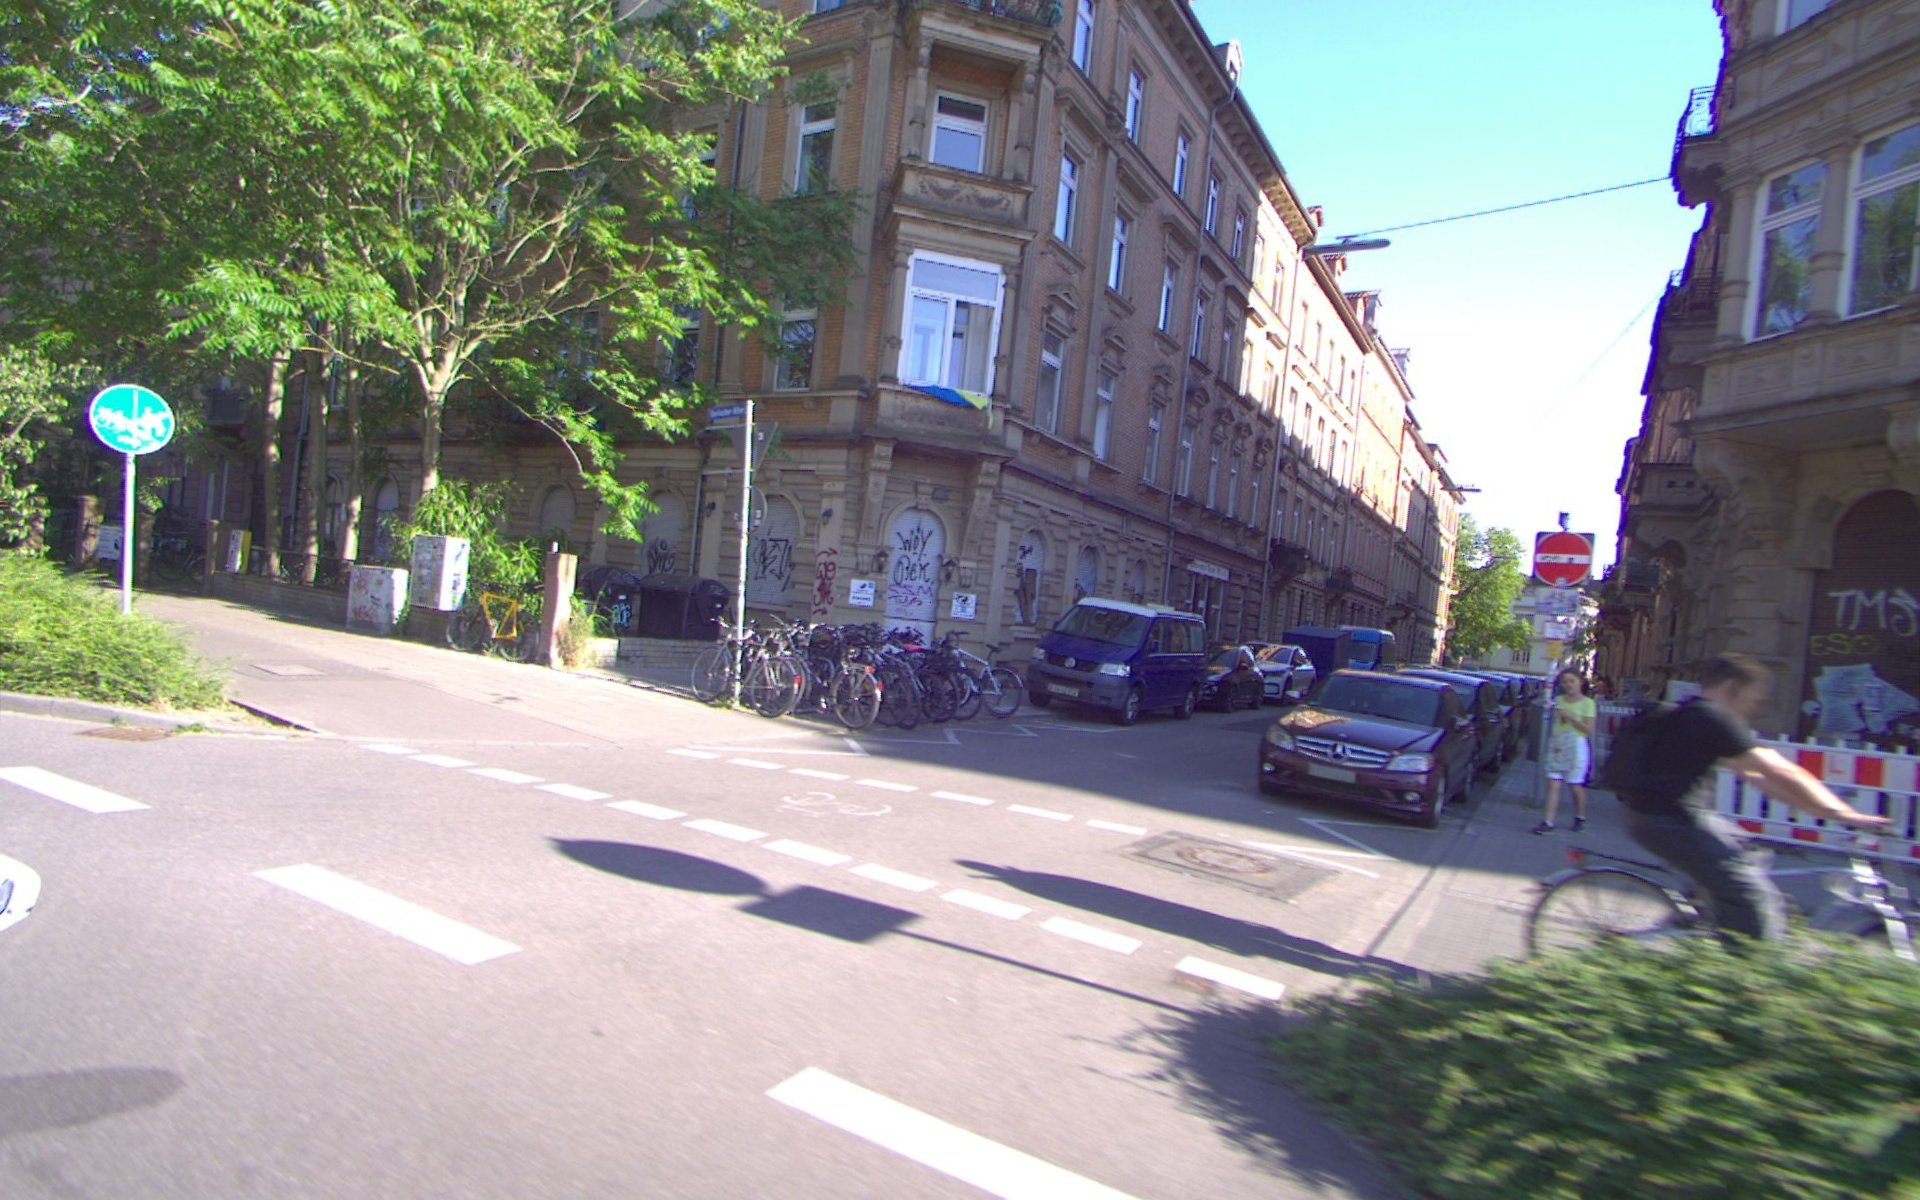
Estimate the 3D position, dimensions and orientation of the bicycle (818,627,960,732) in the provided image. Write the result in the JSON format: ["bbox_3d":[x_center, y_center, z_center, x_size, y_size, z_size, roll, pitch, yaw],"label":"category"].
[{"bbox_3d":[-0.955,1.020,13.263,1.790,1.062,0.518,9,3,32],"label":"bicycle"}]

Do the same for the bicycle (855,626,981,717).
[{"bbox_3d":[-0.647,1.047,15.102,1.790,1.062,0.518,9,3,32],"label":"bicycle"}]

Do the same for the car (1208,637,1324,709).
[{"bbox_3d":[8.265,1.909,26.945,1.763,1.528,4.162,9,2,32],"label":"car"}]

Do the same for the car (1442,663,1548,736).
[{"bbox_3d":[13.745,2.478,25.731,1.783,1.433,4.252,9,2,34],"label":"car"}]

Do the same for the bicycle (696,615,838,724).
[{"bbox_3d":[-2.470,0.854,12.755,1.790,1.062,0.518,9,3,32],"label":"bicycle"}]

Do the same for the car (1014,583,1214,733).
[{"bbox_3d":[2.930,1.056,18.123,1.745,2.151,4.583,9,1,30],"label":"car"}]

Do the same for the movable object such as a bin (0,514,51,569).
[{"bbox_3d":[-26.152,-1.628,27.762,1.236,1.400,1.232,6,1,31],"label":"movable object such as a bin"}]

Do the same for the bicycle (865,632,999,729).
[{"bbox_3d":[-0.414,1.108,14.200,1.790,1.062,0.518,9,3,32],"label":"bicycle"}]

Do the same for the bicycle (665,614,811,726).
[{"bbox_3d":[-2.739,0.831,12.319,1.790,1.062,0.518,9,3,32],"label":"bicycle"}]

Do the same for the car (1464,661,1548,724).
[{"bbox_3d":[17.518,2.907,32.185,1.783,1.609,4.252,9,2,34],"label":"car"}]

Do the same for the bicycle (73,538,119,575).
[{"bbox_3d":[-22.294,-1.128,25.957,0.369,0.865,0.769,9,3,29],"label":"bicycle"}]

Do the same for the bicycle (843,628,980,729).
[{"bbox_3d":[-0.683,1.042,13.743,1.790,1.062,0.518,9,3,32],"label":"bicycle"}]

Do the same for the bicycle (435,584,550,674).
[{"bbox_3d":[-6.538,0.391,14.049,1.693,1.001,0.525,9,3,31],"label":"bicycle"}]

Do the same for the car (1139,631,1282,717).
[{"bbox_3d":[5.799,1.640,22.910,1.763,1.528,4.162,9,2,32],"label":"car"}]

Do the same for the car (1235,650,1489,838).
[{"bbox_3d":[4.684,1.426,11.301,1.782,1.434,4.254,9,2,32],"label":"car"}]

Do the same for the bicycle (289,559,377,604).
[{"bbox_3d":[-15.411,-0.447,24.763,0.435,0.937,1.729,9,3,35],"label":"bicycle"}]

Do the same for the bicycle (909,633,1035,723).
[{"bbox_3d":[0.165,1.153,15.227,1.790,1.062,0.518,9,3,32],"label":"bicycle"}]

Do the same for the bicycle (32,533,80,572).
[{"bbox_3d":[-22.703,-1.190,25.266,0.369,0.865,0.769,9,3,29],"label":"bicycle"}]

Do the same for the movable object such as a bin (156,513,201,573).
[{"bbox_3d":[-24.103,-1.747,31.029,0.730,1.715,0.755,9,3,30],"label":"movable object such as a bin"}]

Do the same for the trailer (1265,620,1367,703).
[{"bbox_3d":[11.502,1.948,32.372,1.967,2.218,3.987,9,3,33],"label":"trailer"}]

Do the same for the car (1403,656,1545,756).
[{"bbox_3d":[10.018,1.965,19.448,1.783,1.433,4.252,9,2,34],"label":"car"}]

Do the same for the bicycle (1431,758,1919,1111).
[{"bbox_3d":[3.439,1.427,4.464,2.321,1.061,0.641,4,1,32],"label":"bicycle"}]

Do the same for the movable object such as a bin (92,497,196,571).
[{"bbox_3d":[-25.981,-2.102,32.009,3.177,2.022,1.546,6,2,32],"label":"movable object such as a bin"}]

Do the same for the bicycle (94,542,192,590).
[{"bbox_3d":[-19.062,-0.787,23.498,0.530,0.937,1.652,9,3,33],"label":"bicycle"}]

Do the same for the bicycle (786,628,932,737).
[{"bbox_3d":[-1.291,1.015,12.716,1.790,1.062,0.518,9,3,32],"label":"bicycle"}]

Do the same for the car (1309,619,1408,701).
[{"bbox_3d":[14.935,2.202,37.466,2.030,2.552,5.958,9,2,32],"label":"car"}]

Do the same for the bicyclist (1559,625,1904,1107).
[{"bbox_3d":[3.367,1.074,4.517,1.035,1.838,0.641,5,1,32],"label":"bicyclist"}]

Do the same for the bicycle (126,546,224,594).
[{"bbox_3d":[-18.009,-0.667,23.105,0.530,0.937,1.652,9,3,33],"label":"bicycle"}]

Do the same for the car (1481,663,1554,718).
[{"bbox_3d":[20.388,3.253,36.696,1.783,1.609,4.252,9,2,34],"label":"car"}]

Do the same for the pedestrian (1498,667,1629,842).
[{"bbox_3d":[5.820,1.479,9.723,0.692,1.554,0.659,5,1,-17],"label":"pedestrian"}]

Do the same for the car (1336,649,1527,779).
[{"bbox_3d":[7.318,1.644,15.373,1.784,1.433,4.251,9,2,35],"label":"car"}]
